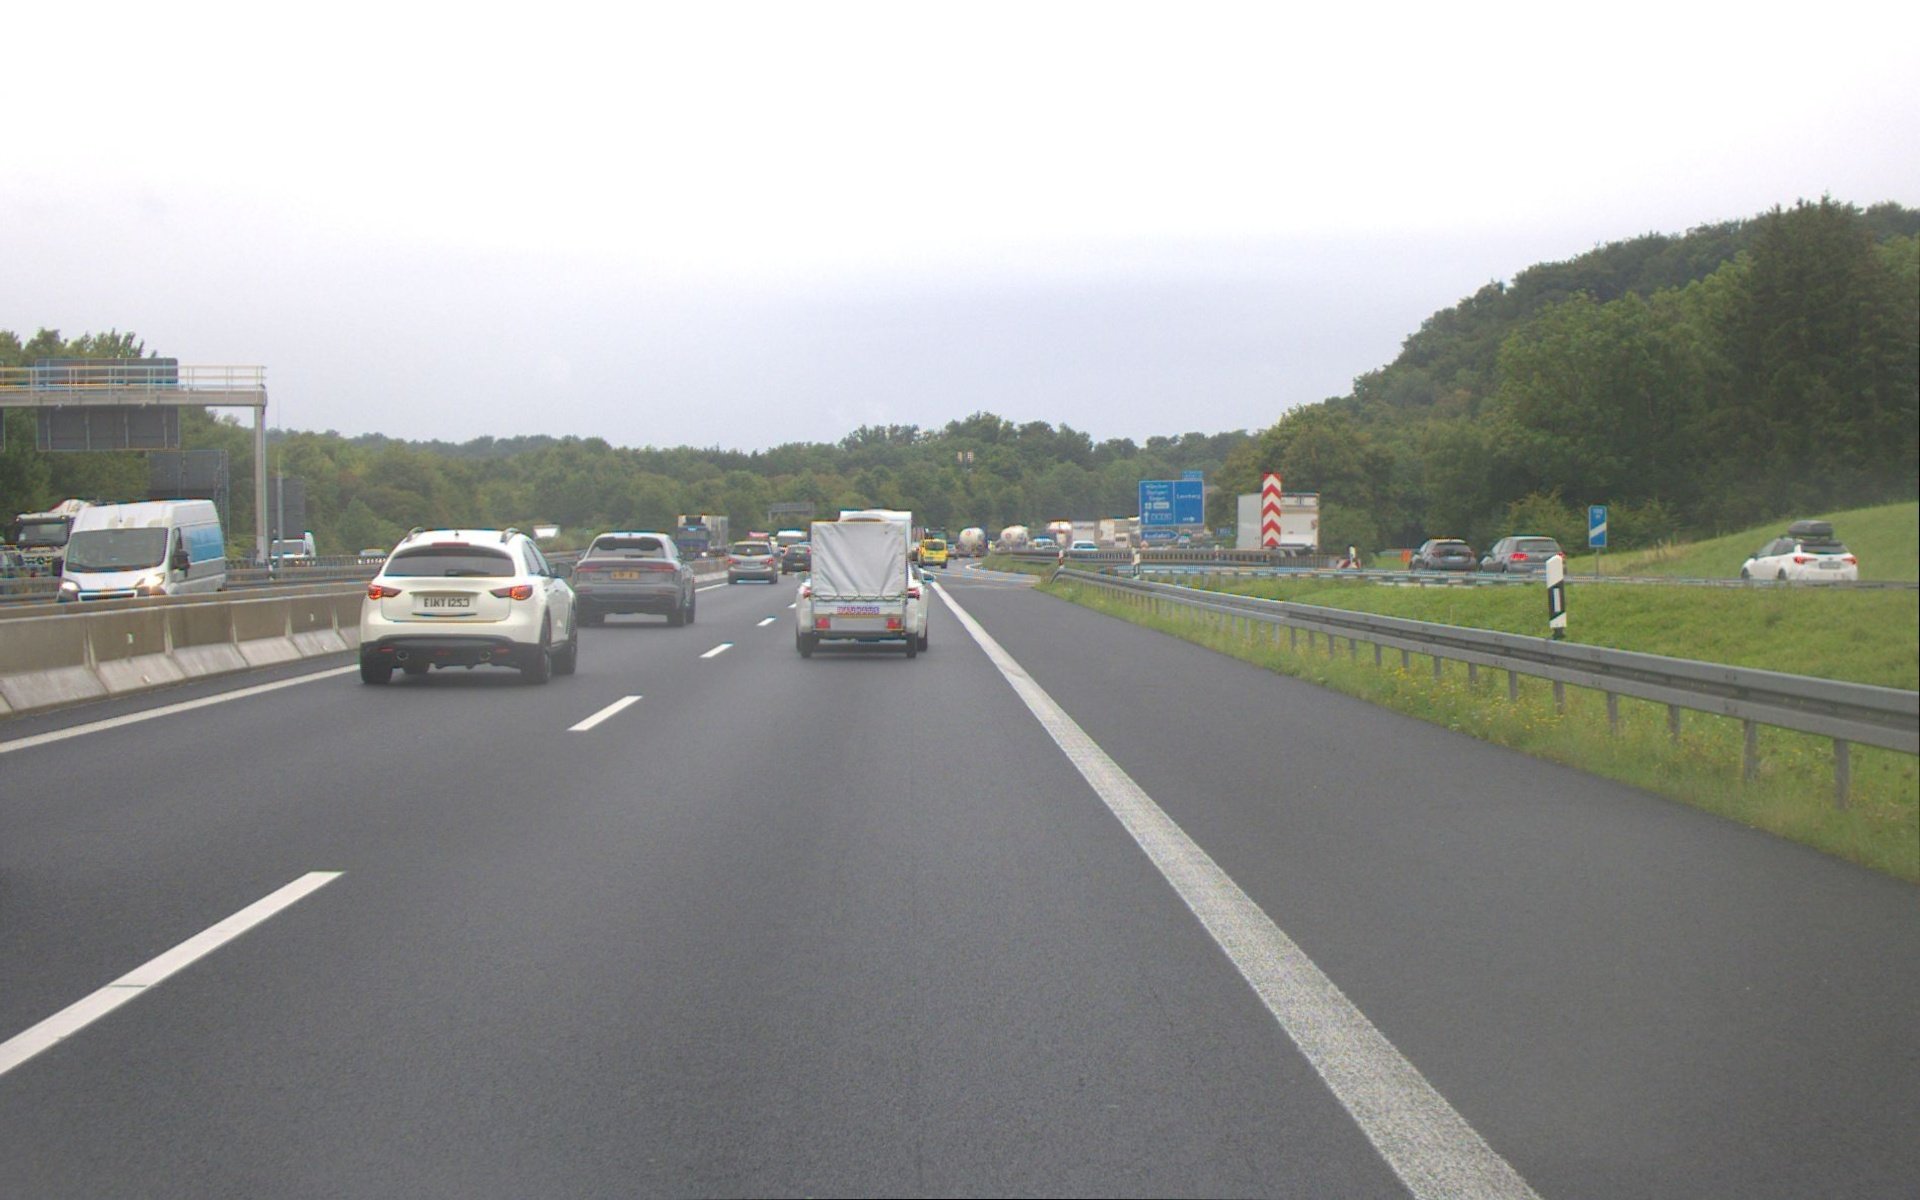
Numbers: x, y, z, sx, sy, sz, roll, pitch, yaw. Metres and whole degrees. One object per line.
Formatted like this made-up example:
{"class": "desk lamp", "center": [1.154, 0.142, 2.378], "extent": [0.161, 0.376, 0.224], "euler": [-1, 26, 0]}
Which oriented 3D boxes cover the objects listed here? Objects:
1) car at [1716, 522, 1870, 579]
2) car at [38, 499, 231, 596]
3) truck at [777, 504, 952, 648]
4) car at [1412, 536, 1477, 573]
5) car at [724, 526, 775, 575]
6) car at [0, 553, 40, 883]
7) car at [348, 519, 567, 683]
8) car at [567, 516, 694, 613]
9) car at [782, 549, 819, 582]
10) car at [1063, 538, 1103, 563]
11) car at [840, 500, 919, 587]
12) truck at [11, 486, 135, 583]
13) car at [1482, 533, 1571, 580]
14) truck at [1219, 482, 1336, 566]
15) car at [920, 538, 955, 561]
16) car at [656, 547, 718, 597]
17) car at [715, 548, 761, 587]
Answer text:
{"class": "car", "center": [20.991, -1.253, 86.814], "extent": [1.985, 1.372, 5.080], "euler": [0, 1, -9]}
{"class": "car", "center": [-15.082, -0.979, 63.168], "extent": [2.357, 1.687, 5.907], "euler": [-1, 1, -3]}
{"class": "truck", "center": [-1.332, -0.370, 47.546], "extent": [2.242, 1.833, 6.585], "euler": [0, 1, -2]}
{"class": "car", "center": [17.389, -1.635, 123.423], "extent": [1.697, 1.284, 3.535], "euler": [1, 1, -2]}
{"class": "car", "center": [-7.874, -1.860, 128.963], "extent": [1.738, 1.787, 4.000], "euler": [1, 1, -1]}
{"class": "car", "center": [-5.123, 0.547, 13.398], "extent": [1.787, 1.454, 4.802], "euler": [1, 1, 0]}
{"class": "car", "center": [-5.394, -0.029, 37.432], "extent": [2.048, 1.665, 4.542], "euler": [1, 1, -4]}
{"class": "car", "center": [-6.019, -0.686, 63.226], "extent": [1.975, 1.697, 4.803], "euler": [1, 1, -1]}
{"class": "car", "center": [-7.893, -1.712, 170.531], "extent": [1.645, 1.568, 4.000], "euler": [1, 1, -1]}
{"class": "car", "center": [7.683, -3.108, 215.366], "extent": [1.993, 1.546, 4.001], "euler": [1, 1, -5]}
{"class": "car", "center": [-2.657, -1.826, 111.400], "extent": [2.331, 2.716, 6.541], "euler": [0, 1, -3]}
{"class": "truck", "center": [-34.986, -2.587, 135.979], "extent": [2.685, 3.648, 9.559], "euler": [-1, 1, -2]}
{"class": "car", "center": [16.122, -1.250, 97.992], "extent": [1.539, 1.284, 3.536], "euler": [1, 1, -7]}
{"class": "truck", "center": [14.380, -3.434, 156.434], "extent": [3.824, 3.646, 8.273], "euler": [1, 1, -5]}
{"class": "car", "center": [-1.572, -3.530, 240.030], "extent": [1.993, 1.546, 4.001], "euler": [1, 1, -6]}
{"class": "car", "center": [-9.250, -0.962, 116.825], "extent": [1.819, 1.656, 4.017], "euler": [0, 1, -1]}
{"class": "car", "center": [-9.815, -1.456, 152.010], "extent": [1.819, 1.656, 4.017], "euler": [0, 1, -1]}
